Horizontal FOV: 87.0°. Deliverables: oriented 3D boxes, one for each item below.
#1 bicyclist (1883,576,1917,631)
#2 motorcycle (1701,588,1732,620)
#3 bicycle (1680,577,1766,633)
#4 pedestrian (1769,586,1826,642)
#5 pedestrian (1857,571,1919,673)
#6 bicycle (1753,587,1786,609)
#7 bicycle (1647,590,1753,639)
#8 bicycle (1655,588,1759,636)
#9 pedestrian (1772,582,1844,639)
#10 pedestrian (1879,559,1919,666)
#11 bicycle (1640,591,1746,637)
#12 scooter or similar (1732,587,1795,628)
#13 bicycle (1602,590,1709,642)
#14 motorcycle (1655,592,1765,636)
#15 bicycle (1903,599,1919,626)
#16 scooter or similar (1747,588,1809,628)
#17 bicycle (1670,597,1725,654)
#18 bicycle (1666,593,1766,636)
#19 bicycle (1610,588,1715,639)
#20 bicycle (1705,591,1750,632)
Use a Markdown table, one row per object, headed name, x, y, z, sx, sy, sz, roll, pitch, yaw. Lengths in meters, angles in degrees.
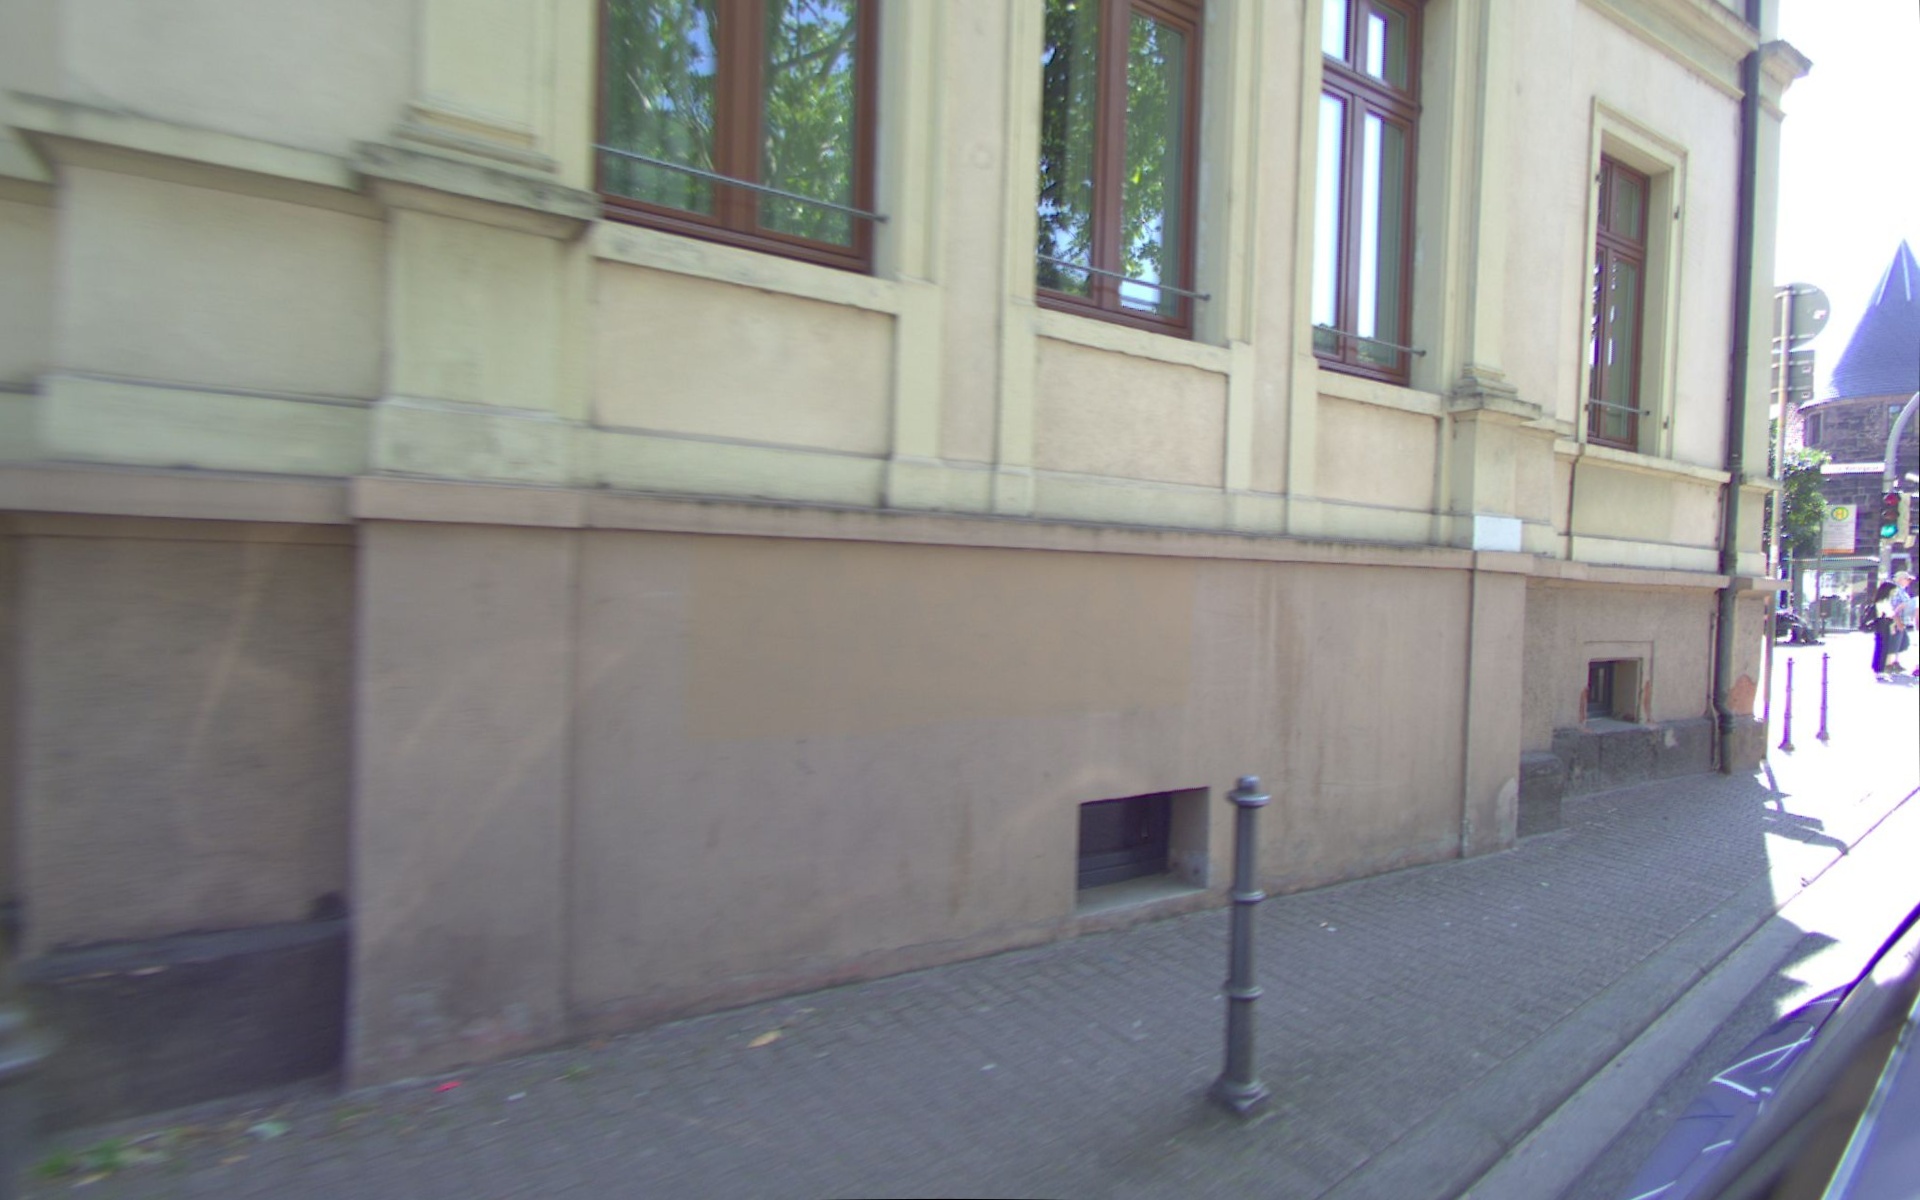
| name | x | y | z | sx | sy | sz | roll | pitch | yaw |
| --- | --- | --- | --- | --- | --- | --- | --- | --- | --- |
| bicyclist | 28.794 | 0.092 | 30.999 | 0.708 | 1.648 | 0.873 | 2 | 1 | 42 |
| motorcycle | 30.496 | 0.153 | 40.793 | 2.180 | 1.251 | 0.658 | -1 | 2 | -45 |
| bicycle | 20.982 | 0.161 | 27.855 | 0.711 | 1.215 | 1.551 | 1 | -14 | -34 |
| pedestrian | 20.109 | 0.314 | 24.309 | 0.682 | 1.298 | 0.962 | 0 | 1 | -42 |
| pedestrian | 15.807 | 0.354 | 17.215 | 0.670 | 1.696 | 0.716 | 0 | 1 | -41 |
| bicycle | 38.144 | -0.088 | 47.694 | 1.679 | 1.015 | 0.660 | 0 | 1 | -31 |
| bicycle | 18.944 | 0.359 | 25.947 | 0.763 | 1.213 | 2.082 | 1 | -1 | -42 |
| bicycle | 19.516 | 0.302 | 26.464 | 0.763 | 1.213 | 2.082 | 1 | -1 | -42 |
| pedestrian | 20.669 | 0.244 | 24.679 | 0.682 | 1.324 | 1.249 | 0 | 1 | -42 |
| pedestrian | 17.003 | 0.216 | 18.183 | 0.717 | 1.875 | 0.617 | 0 | 1 | -40 |
| bicycle | 18.424 | 0.337 | 25.466 | 0.594 | 1.099 | 2.082 | 1 | -1 | -42 |
| scooter or similar | 24.781 | 0.239 | 31.217 | 0.640 | 1.231 | 1.433 | 0 | 0 | -41 |
| bicycle | 16.973 | 0.376 | 24.741 | 0.597 | 1.213 | 2.083 | 1 | -1 | -41 |
| motorcycle | 19.556 | 0.350 | 26.417 | 0.763 | 1.118 | 2.207 | 1 | -1 | -42 |
| bicycle | 42.771 | 0.535 | 45.159 | 1.812 | 1.167 | 0.844 | 0 | 2 | -41 |
| scooter or similar | 25.933 | 0.238 | 32.099 | 0.640 | 1.231 | 1.433 | 0 | 0 | -41 |
| bicycle | 14.830 | 0.497 | 20.332 | 1.552 | 1.016 | 0.509 | -4 | 3 | -39 |
| bicycle | 20.127 | 0.370 | 26.984 | 0.787 | 1.079 | 2.027 | 1 | -1 | -42 |
| bicycle | 17.412 | 0.320 | 25.139 | 0.518 | 1.213 | 2.082 | 1 | -1 | -42 |
| bicycle | 22.831 | 0.317 | 30.141 | 0.540 | 1.145 | 1.727 | 1 | 1 | 19 |
